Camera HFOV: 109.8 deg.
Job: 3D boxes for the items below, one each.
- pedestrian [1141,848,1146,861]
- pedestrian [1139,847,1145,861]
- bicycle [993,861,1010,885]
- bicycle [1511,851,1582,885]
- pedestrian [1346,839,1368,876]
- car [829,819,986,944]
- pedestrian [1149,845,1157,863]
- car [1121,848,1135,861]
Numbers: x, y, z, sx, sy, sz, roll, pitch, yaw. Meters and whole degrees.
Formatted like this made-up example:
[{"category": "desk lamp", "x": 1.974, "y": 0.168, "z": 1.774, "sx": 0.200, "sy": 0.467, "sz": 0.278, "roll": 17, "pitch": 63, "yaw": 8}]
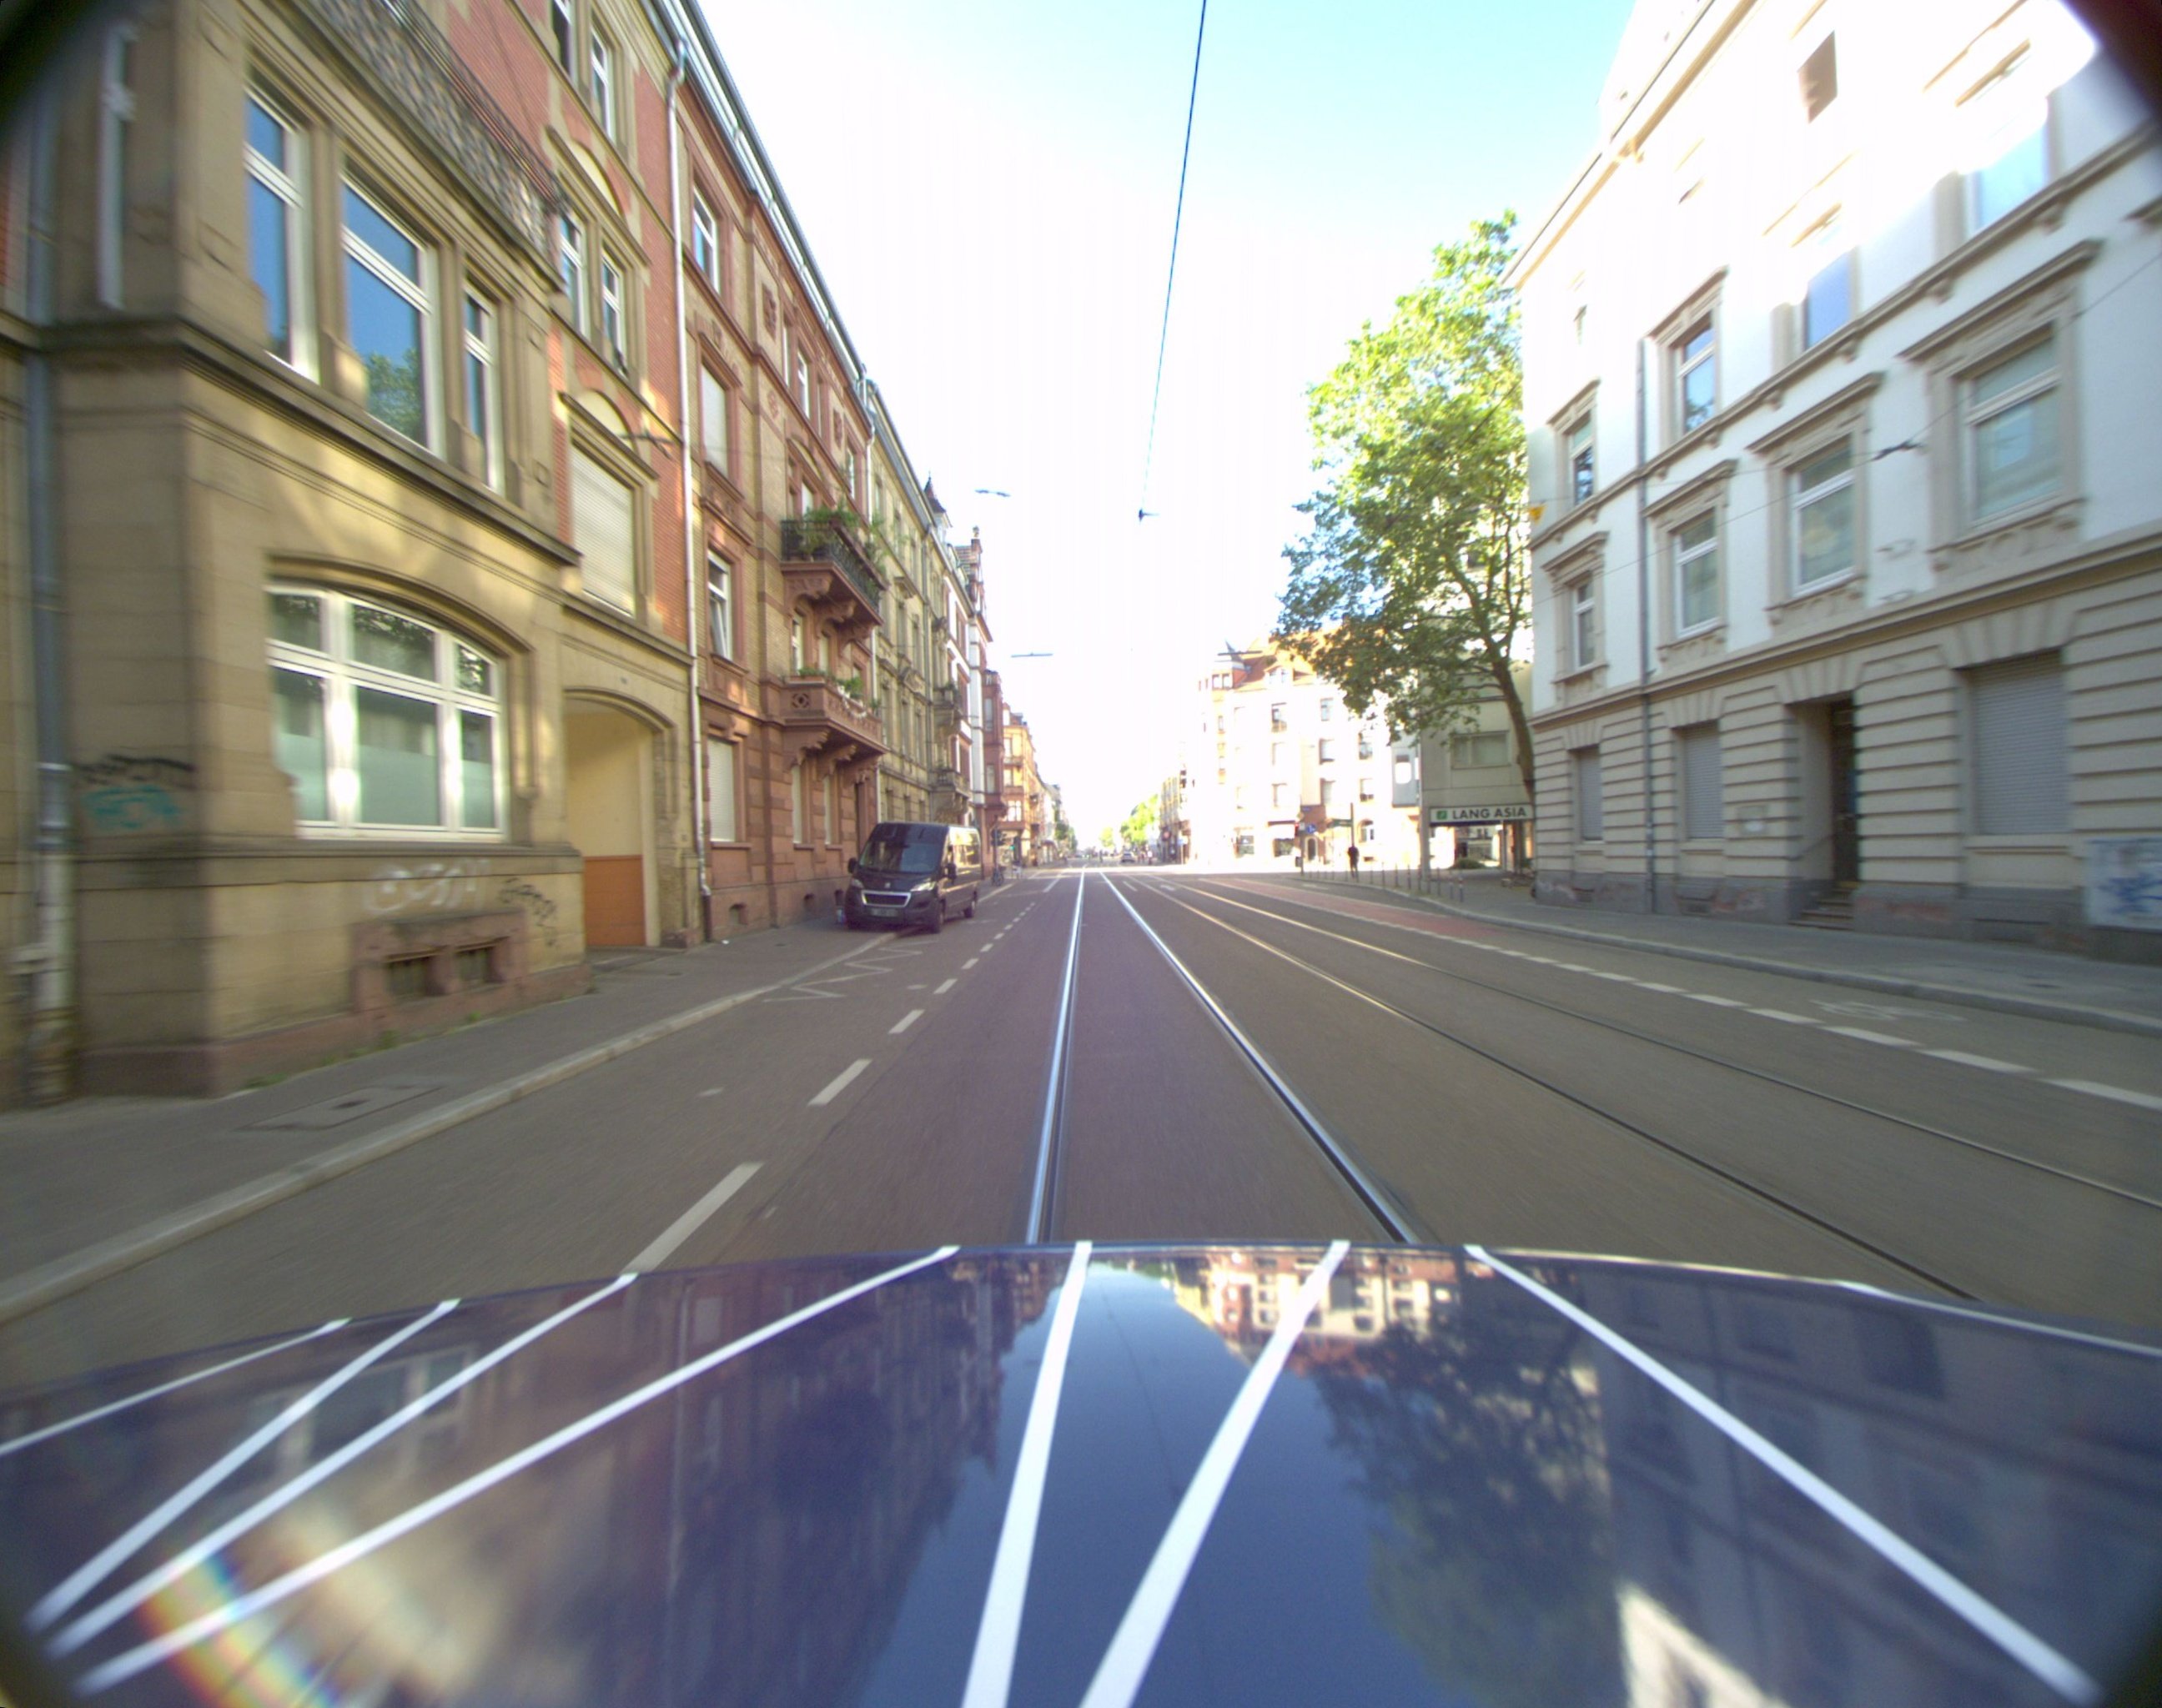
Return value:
[{"category": "pedestrian", "x": 9.924, "y": 0.057, "z": 120.841, "sx": 0.756, "sy": 2.002, "sz": 0.718, "roll": -3, "pitch": 1, "yaw": 0}, {"category": "pedestrian", "x": 9.364, "y": -0.003, "z": 116.856, "sx": 0.756, "sy": 2.002, "sz": 0.718, "roll": -3, "pitch": 1, "yaw": 0}, {"category": "bicycle", "x": -4.099, "y": 0.970, "z": 39.372, "sx": 0.647, "sy": 1.143, "sz": 1.688, "roll": -1, "pitch": 1, "yaw": 0}, {"category": "bicycle", "x": 16.148, "y": 0.494, "z": 26.411, "sx": 2.042, "sy": 1.119, "sz": 0.707, "roll": -2, "pitch": 1, "yaw": 28}, {"category": "pedestrian", "x": 14.016, "y": 0.157, "z": 38.617, "sx": 0.795, "sy": 1.837, "sz": 0.809, "roll": -2, "pitch": 1, "yaw": 4}, {"category": "car", "x": -3.930, "y": 0.520, "z": 18.524, "sx": 2.128, "sy": 2.478, "sz": 5.856, "roll": -3, "pitch": 1, "yaw": 2}, {"category": "pedestrian", "x": 8.315, "y": -0.039, "z": 88.003, "sx": 0.756, "sy": 2.002, "sz": 0.718, "roll": -3, "pitch": 1, "yaw": 0}, {"category": "car", "x": 7.801, "y": 0.088, "z": 127.114, "sx": 1.998, "sy": 2.002, "sz": 4.000, "roll": -1, "pitch": 0, "yaw": 0}]
